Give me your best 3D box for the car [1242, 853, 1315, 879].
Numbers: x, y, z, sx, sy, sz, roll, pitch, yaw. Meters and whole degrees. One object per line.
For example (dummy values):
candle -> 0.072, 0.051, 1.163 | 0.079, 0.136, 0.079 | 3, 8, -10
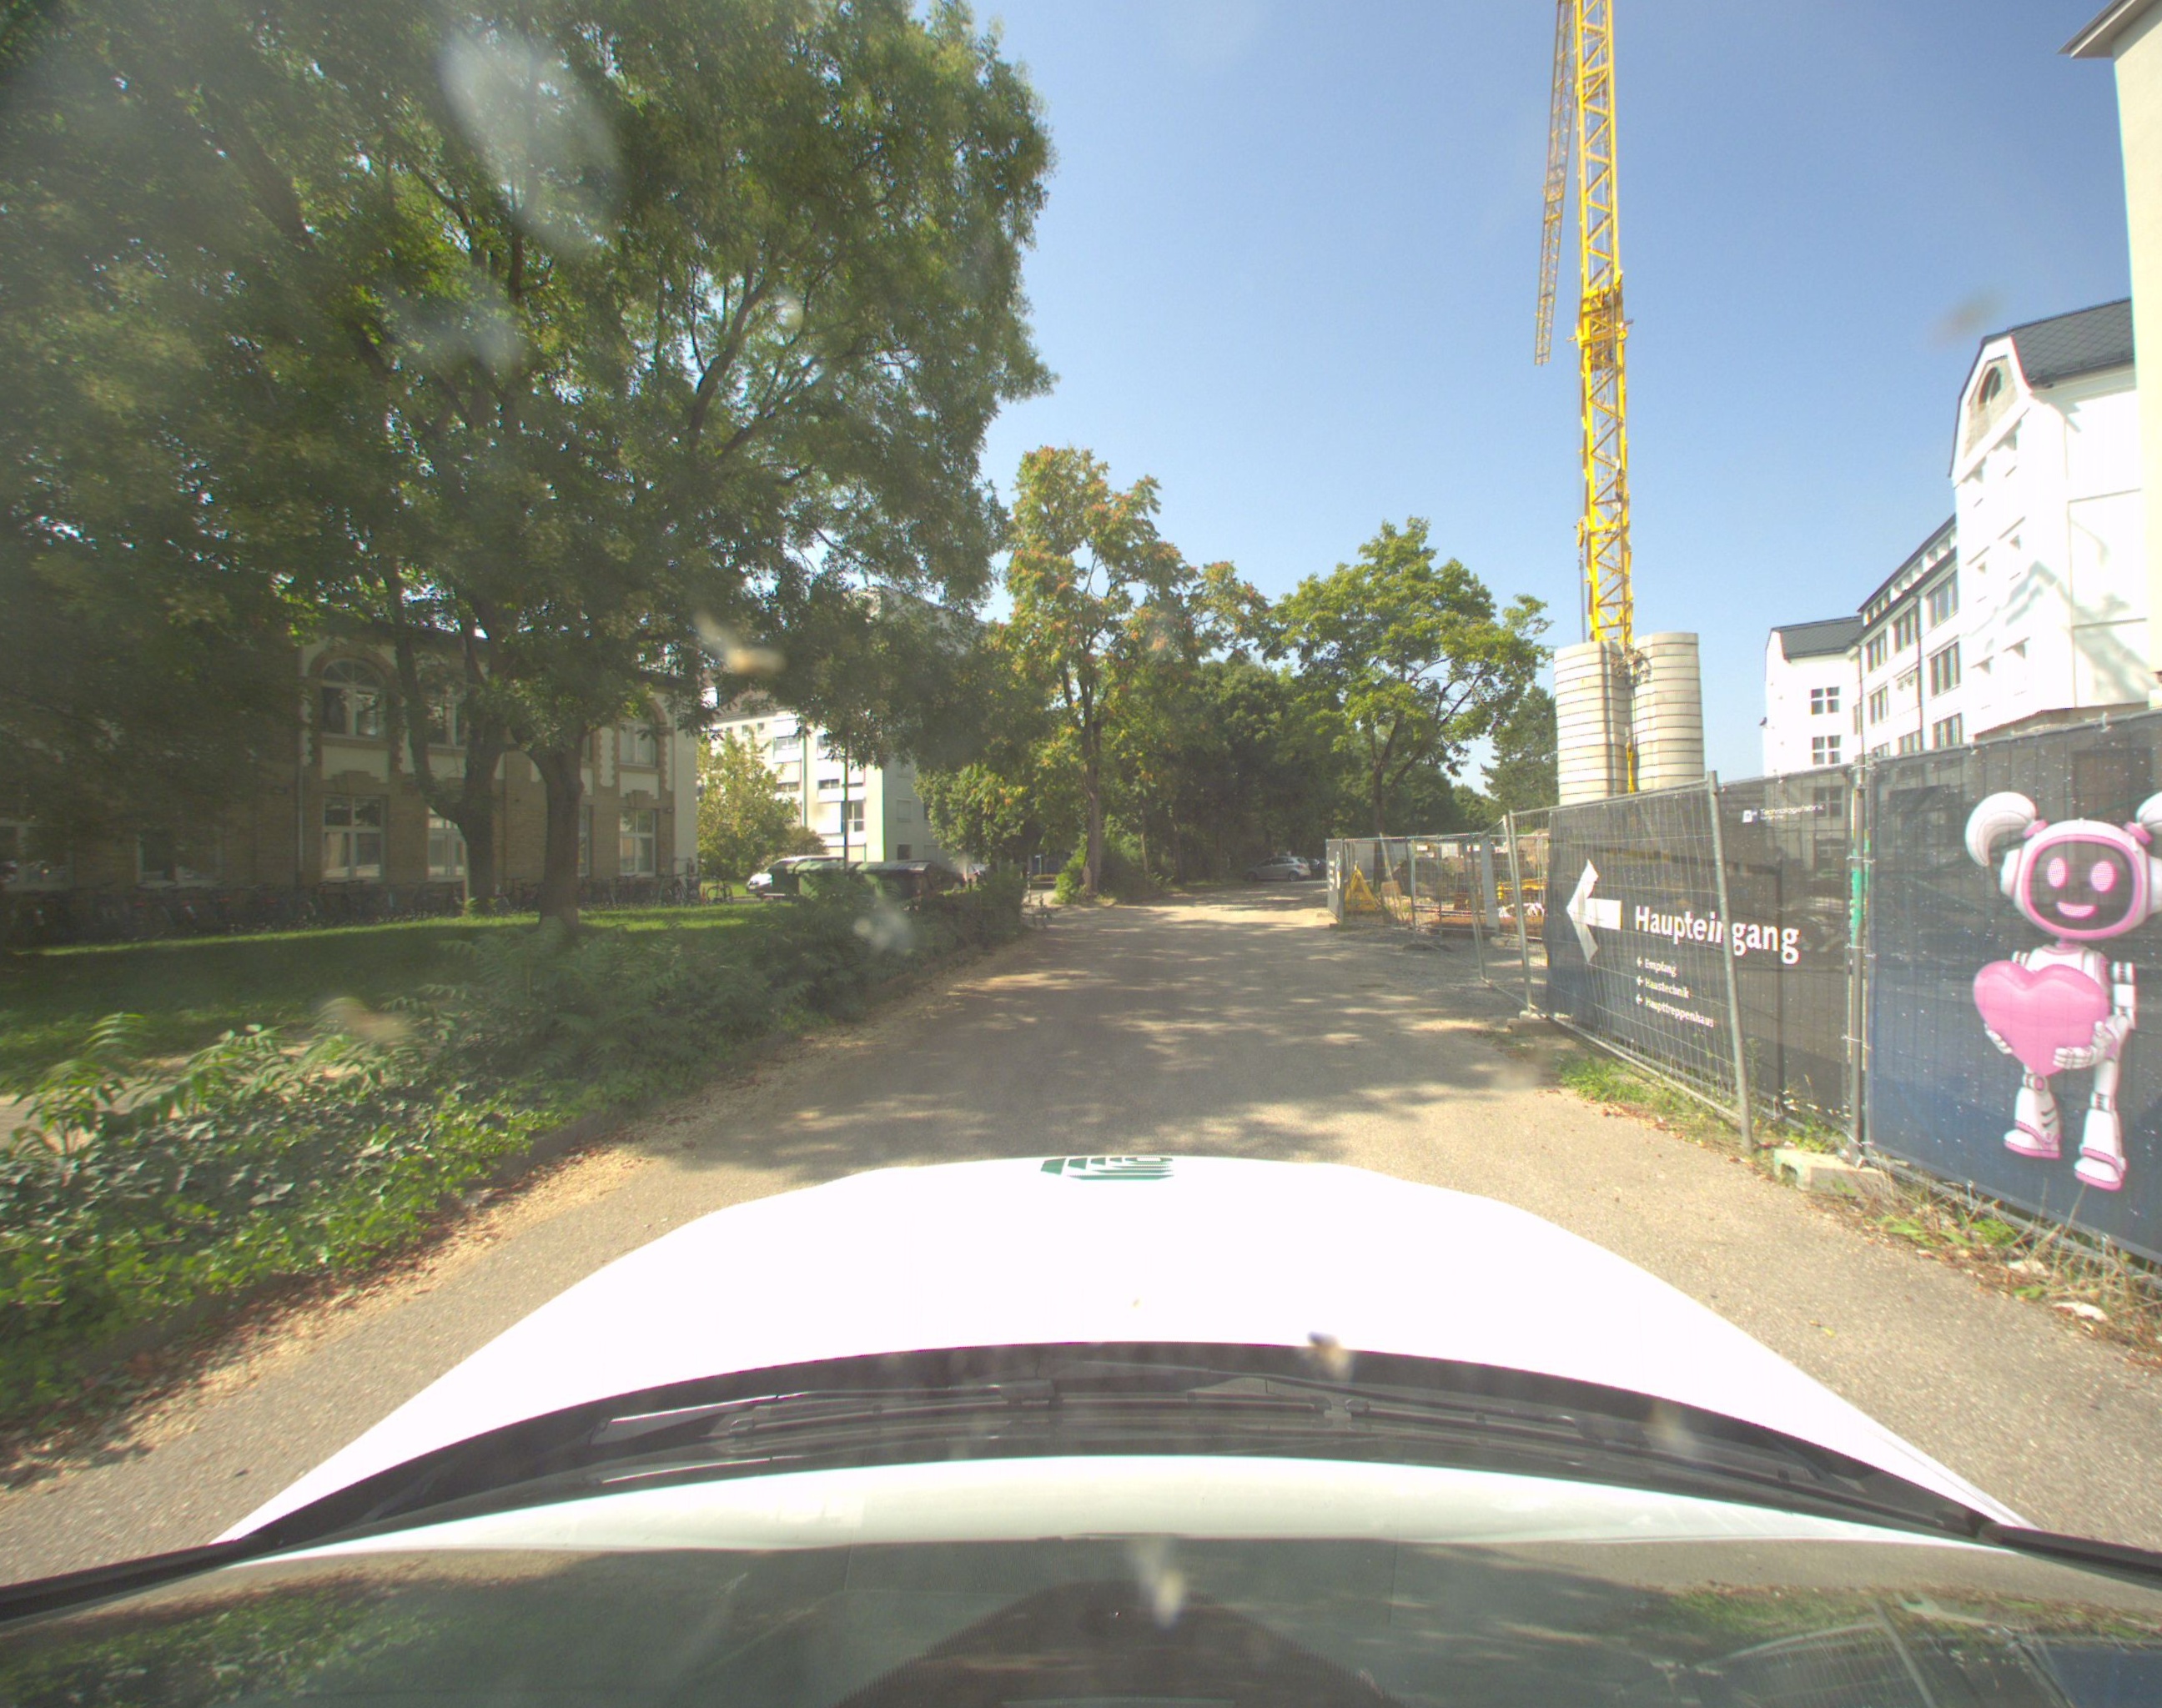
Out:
car -> 12.606, 0.749, 52.110 | 4.107, 1.612, 2.013 | 0, 0, 34

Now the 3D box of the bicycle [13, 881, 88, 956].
bicycle -> -19.595, 1.188, 15.467 | 2.493, 1.303, 0.777 | -2, -1, 36

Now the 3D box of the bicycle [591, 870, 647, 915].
bicycle -> -14.016, 1.172, 24.690 | 2.145, 1.303, 0.613 | -2, -1, 36

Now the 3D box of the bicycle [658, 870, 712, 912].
bicycle -> -12.847, 1.190, 26.400 | 2.145, 1.303, 0.613 | -2, -1, 36

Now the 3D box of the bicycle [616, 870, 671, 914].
bicycle -> -13.538, 1.188, 25.196 | 2.145, 1.303, 0.613 | -2, -1, 36

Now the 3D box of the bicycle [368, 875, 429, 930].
bicycle -> -16.956, 1.194, 20.206 | 2.243, 1.303, 0.631 | -2, -1, 36

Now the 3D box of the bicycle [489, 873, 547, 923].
bicycle -> -15.460, 1.191, 22.337 | 2.145, 1.303, 0.613 | -2, -1, 36

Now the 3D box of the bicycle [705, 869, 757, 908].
bicycle -> -11.975, 1.186, 27.853 | 2.145, 1.303, 0.613 | -2, -1, 36

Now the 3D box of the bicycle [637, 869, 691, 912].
bicycle -> -13.231, 1.167, 25.823 | 2.145, 1.303, 0.613 | -2, -1, 36

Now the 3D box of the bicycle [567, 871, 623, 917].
bicycle -> -14.333, 1.171, 23.976 | 2.145, 1.303, 0.613 | -2, -1, 36

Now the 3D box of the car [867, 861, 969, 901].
car -> -6.642, 1.070, 33.531 | 1.685, 1.528, 3.937 | -1, -1, 39

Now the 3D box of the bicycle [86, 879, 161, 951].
bicycle -> -18.970, 1.178, 16.122 | 2.493, 1.303, 0.777 | -2, -1, 36

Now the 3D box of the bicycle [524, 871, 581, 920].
bicycle -> -14.997, 1.173, 23.081 | 2.145, 1.303, 0.613 | -2, -1, 36

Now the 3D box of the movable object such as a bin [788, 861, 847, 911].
movable object such as a bin -> -8.142, 0.968, 25.221 | 1.191, 1.496, 1.257 | 0, -1, 27

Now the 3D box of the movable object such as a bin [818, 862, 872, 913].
movable object such as a bin -> -7.034, 0.972, 24.340 | 1.088, 1.482, 1.108 | 0, -1, 27

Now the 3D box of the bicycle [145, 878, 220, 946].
bicycle -> -18.634, 1.177, 16.874 | 2.493, 1.303, 0.777 | -2, -1, 36

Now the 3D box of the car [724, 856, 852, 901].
car -> -13.484, 1.073, 37.777 | 2.470, 1.881, 5.117 | -1, -1, 35

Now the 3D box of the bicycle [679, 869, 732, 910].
bicycle -> -12.455, 1.184, 26.966 | 2.145, 1.303, 0.613 | -2, -1, 36

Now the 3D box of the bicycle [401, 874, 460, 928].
bicycle -> -16.607, 1.187, 20.773 | 2.145, 1.303, 0.613 | -2, -1, 36

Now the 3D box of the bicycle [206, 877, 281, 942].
bicycle -> -18.213, 1.185, 17.691 | 2.493, 1.303, 0.777 | -2, -1, 36

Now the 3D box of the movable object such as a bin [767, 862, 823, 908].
movable object such as a bin -> -9.310, 0.998, 26.551 | 1.191, 1.444, 1.257 | 0, -1, 27

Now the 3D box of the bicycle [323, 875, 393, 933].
bicycle -> -17.343, 1.193, 19.520 | 2.243, 1.303, 0.777 | -2, -1, 36

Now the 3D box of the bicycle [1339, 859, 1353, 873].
bicycle -> 22.100, 0.984, 67.976 | 0.494, 1.107, 1.811 | -1, 0, 37

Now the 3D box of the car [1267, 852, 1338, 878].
car -> 14.660, 0.717, 53.971 | 4.107, 1.612, 2.013 | 0, 0, 34

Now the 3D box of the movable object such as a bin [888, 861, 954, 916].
movable object such as a bin -> -4.526, 0.944, 23.108 | 1.357, 1.493, 1.342 | 0, -1, 18

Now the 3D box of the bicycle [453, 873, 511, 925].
bicycle -> -16.047, 1.197, 21.802 | 2.145, 1.303, 0.613 | -2, -1, 36

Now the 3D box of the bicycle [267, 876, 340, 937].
bicycle -> -17.877, 1.193, 18.709 | 2.493, 1.303, 0.777 | -2, -1, 36

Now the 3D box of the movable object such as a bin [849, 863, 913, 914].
movable object such as a bin -> -5.865, 0.984, 23.936 | 1.315, 1.432, 1.257 | 0, -1, 26
